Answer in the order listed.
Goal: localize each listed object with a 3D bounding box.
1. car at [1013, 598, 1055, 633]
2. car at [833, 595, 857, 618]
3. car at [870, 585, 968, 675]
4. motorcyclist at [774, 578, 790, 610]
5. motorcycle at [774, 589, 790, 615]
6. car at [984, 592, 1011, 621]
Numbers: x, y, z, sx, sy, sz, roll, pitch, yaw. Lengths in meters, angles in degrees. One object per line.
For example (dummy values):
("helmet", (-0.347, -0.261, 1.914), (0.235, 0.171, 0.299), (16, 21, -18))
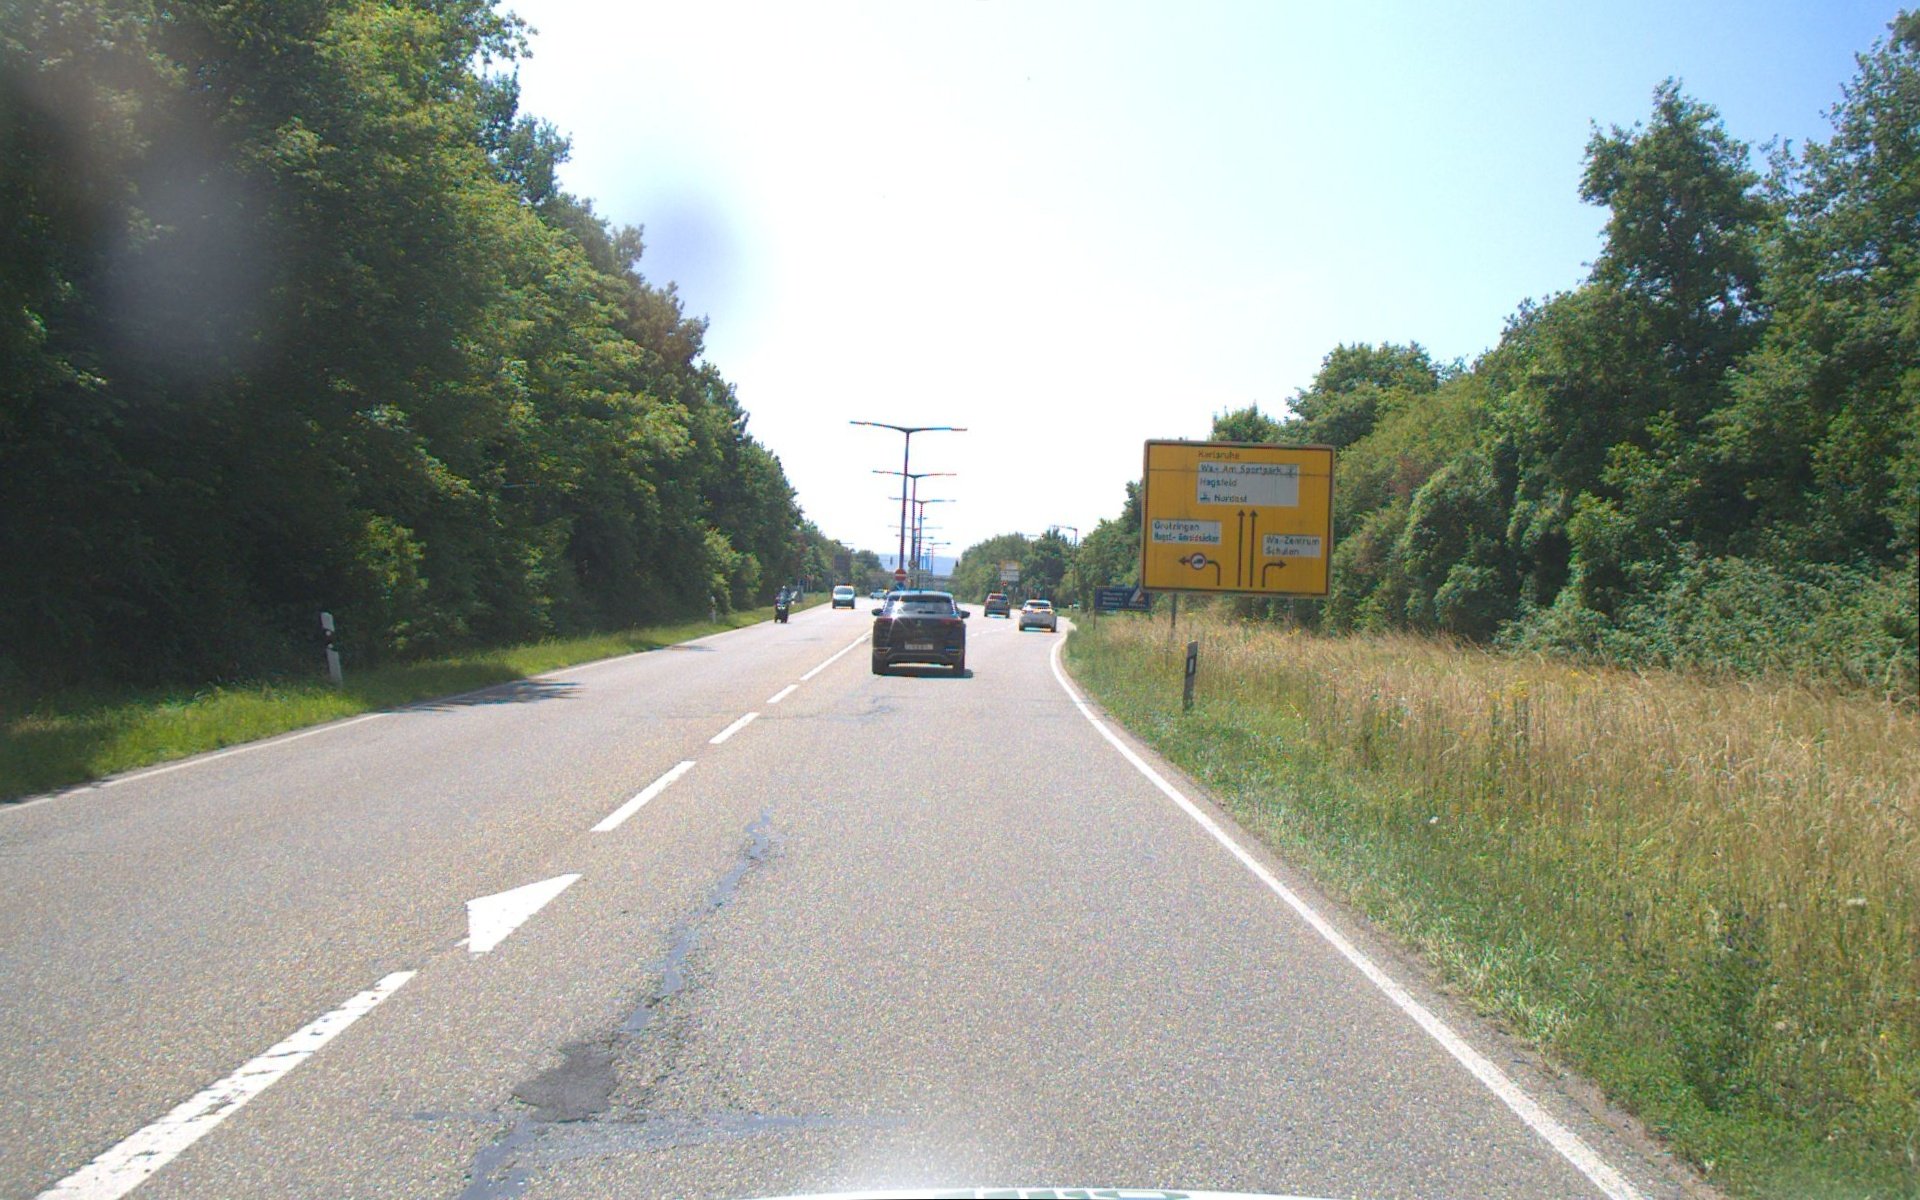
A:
("car", (3.506, 0.697, 78.735), (1.760, 1.611, 3.999), (0, 0, -1))
("car", (-8.841, 0.470, 127.085), (1.697, 1.717, 4.093), (0, 0, -2))
("car", (-0.845, 0.542, 32.045), (1.720, 1.583, 3.998), (2, 0, -3))
("motorcyclist", (-8.318, -0.273, 77.364), (0.657, 1.501, 0.813), (1, 0, -5))
("motorcycle", (-8.345, 0.077, 77.541), (0.657, 1.195, 2.230), (1, 0, -4))
("car", (2.784, 0.472, 122.510), (1.720, 1.962, 3.999), (3, 0, -2))
